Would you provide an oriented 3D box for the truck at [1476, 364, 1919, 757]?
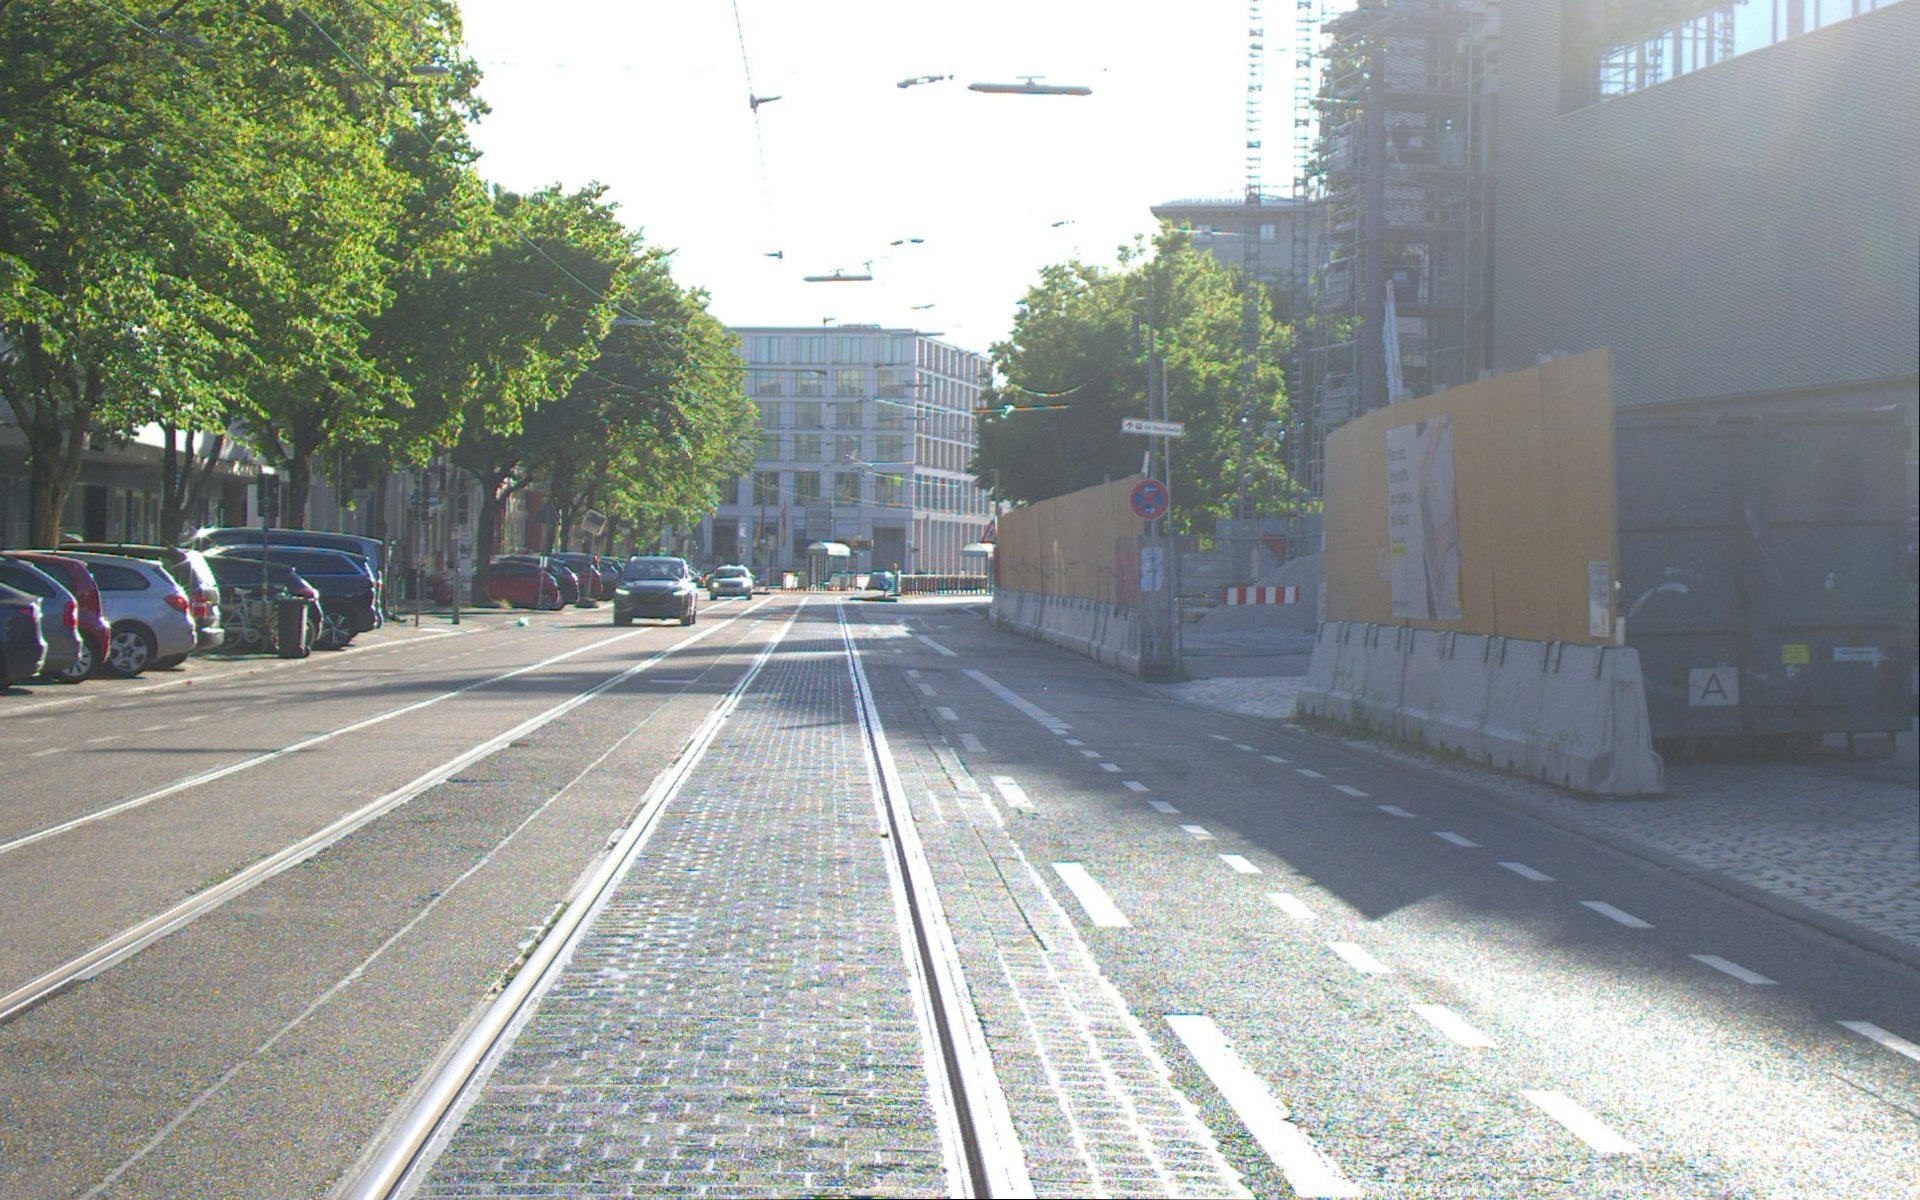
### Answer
[{"bbox_3d":[6.068,-0.337,28.798,2.519,2.899,5.507,-2,1,-1],"label":"truck"}]

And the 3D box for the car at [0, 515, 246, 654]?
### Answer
[{"bbox_3d":[-11.852,-0.249,46.253,4.103,1.672,1.841,3,1,-4],"label":"car"}]

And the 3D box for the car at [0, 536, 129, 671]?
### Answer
[{"bbox_3d":[-11.565,-0.010,39.859,3.362,1.488,1.613,2,1,-30],"label":"car"}]

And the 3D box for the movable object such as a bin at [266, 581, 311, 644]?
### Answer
[{"bbox_3d":[-10.224,0.192,52.328,0.575,0.910,0.575,3,1,-18],"label":"movable object such as a bin"}]

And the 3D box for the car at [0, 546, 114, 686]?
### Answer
[{"bbox_3d":[-11.218,0.110,37.049,3.672,1.465,1.753,3,0,-31],"label":"car"}]

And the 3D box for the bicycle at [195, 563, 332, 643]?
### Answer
[{"bbox_3d":[-10.735,0.049,52.999,1.965,1.140,0.493,3,0,-20],"label":"bicycle"}]

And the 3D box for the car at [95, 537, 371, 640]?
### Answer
[{"bbox_3d":[-12.107,-0.199,57.253,4.234,1.679,1.811,0,1,-23],"label":"car"}]

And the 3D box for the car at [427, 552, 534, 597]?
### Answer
[{"bbox_3d":[-14.253,-0.769,102.211,2.933,1.327,1.215,0,1,-29],"label":"car"}]

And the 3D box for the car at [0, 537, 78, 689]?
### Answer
[{"bbox_3d":[-11.209,0.055,34.457,4.188,1.486,1.944,2,1,-29],"label":"car"}]

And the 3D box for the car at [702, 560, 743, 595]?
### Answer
[{"bbox_3d":[-10.174,-0.963,147.512,1.709,1.431,4.171,1,1,-3],"label":"car"}]

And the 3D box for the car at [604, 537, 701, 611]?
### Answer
[{"bbox_3d":[-7.407,-0.642,83.090,1.927,1.624,4.249,-1,2,0],"label":"car"}]

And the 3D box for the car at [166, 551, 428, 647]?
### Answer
[{"bbox_3d":[-10.590,-0.022,54.848,3.855,1.471,1.844,0,1,-20],"label":"car"}]

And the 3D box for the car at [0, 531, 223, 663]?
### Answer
[{"bbox_3d":[-11.481,-0.070,42.802,4.103,1.507,1.841,2,1,-28],"label":"car"}]

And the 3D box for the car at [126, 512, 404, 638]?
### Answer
[{"bbox_3d":[-12.094,-0.433,59.841,4.353,1.980,1.950,3,0,-23],"label":"car"}]
